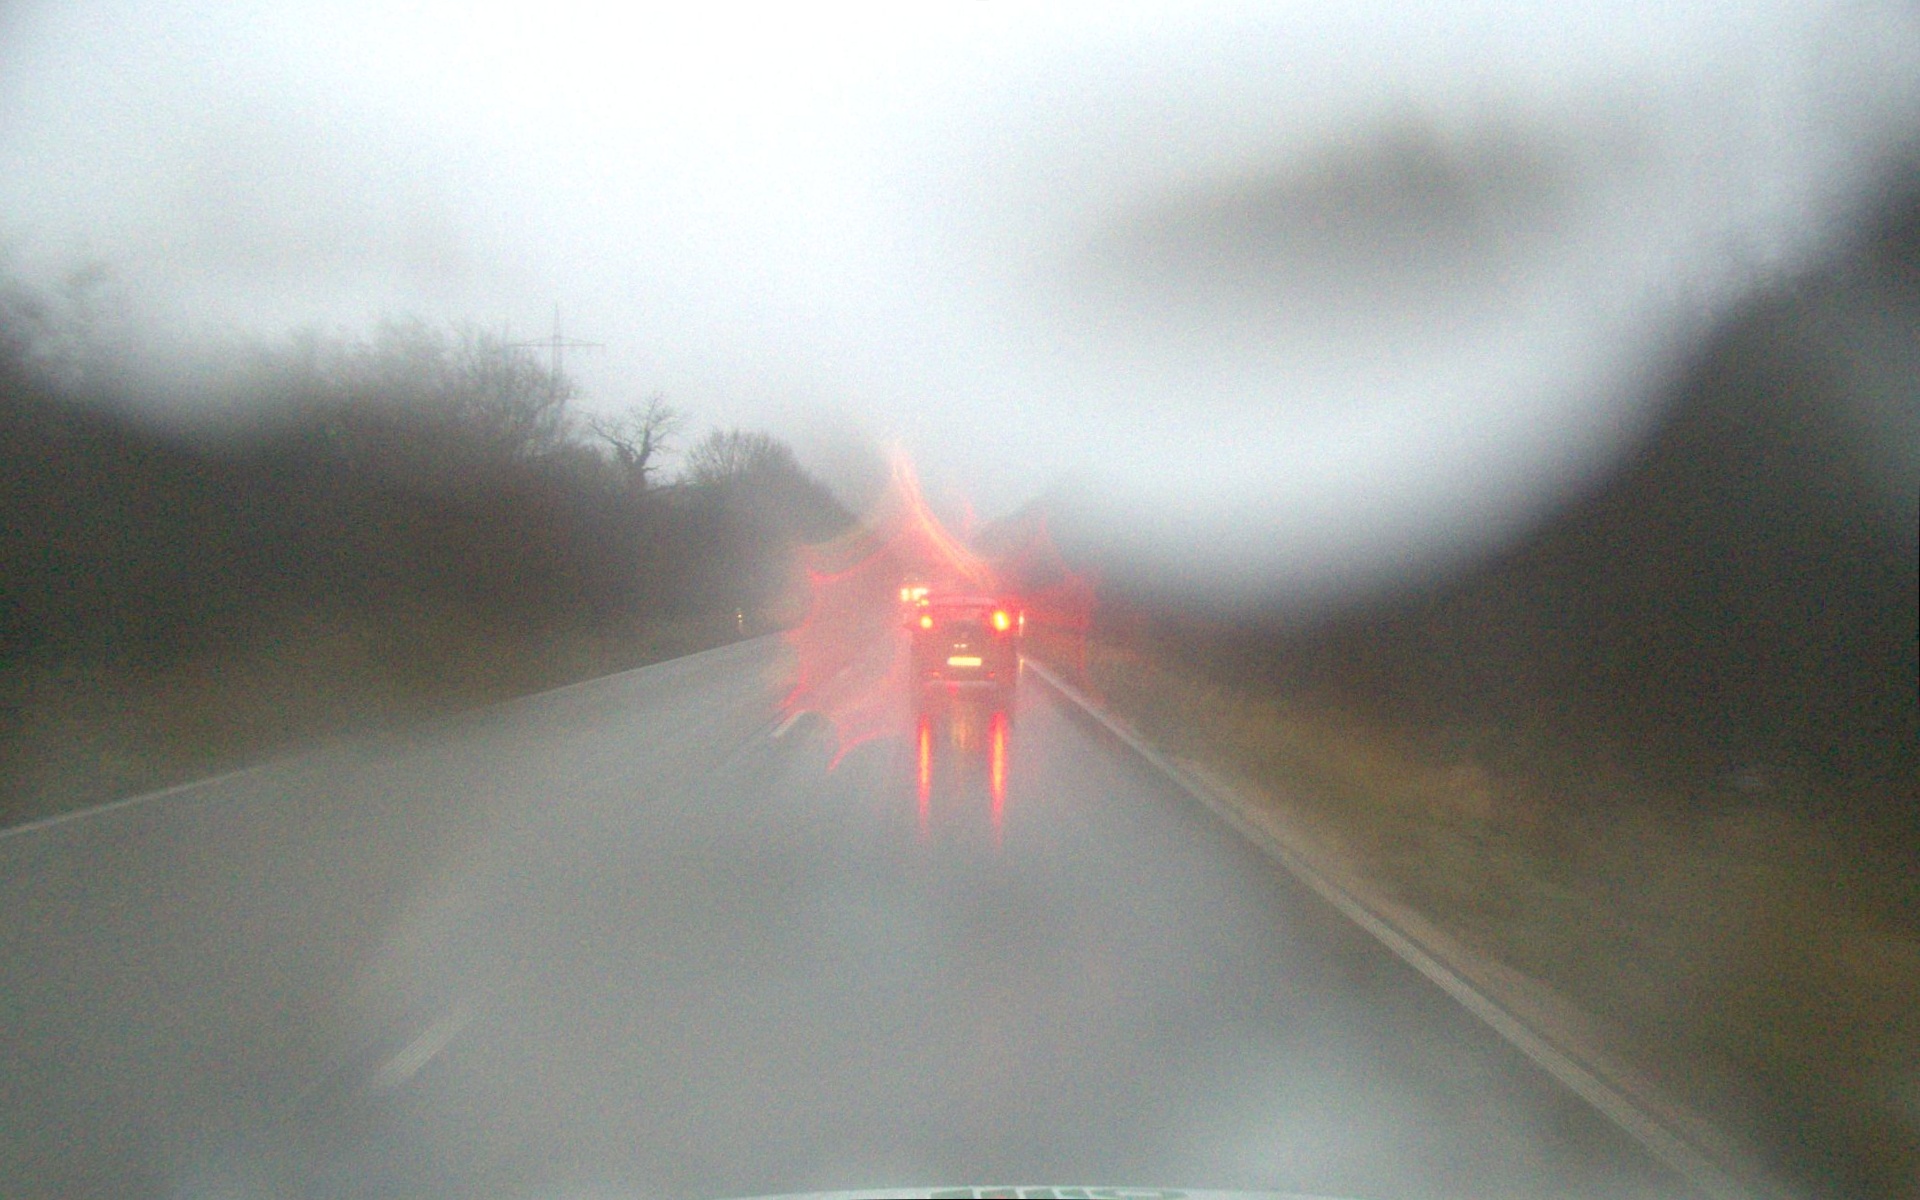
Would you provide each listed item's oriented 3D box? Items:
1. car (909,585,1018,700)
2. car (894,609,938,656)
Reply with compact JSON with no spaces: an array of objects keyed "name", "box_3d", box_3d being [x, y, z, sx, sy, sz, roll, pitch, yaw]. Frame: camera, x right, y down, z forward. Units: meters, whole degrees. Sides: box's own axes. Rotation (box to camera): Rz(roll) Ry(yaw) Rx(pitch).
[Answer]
[{"name":"car","box_3d":[0.026,0.638,26.564,1.614,1.701,3.513,1,0,-1]},{"name":"car","box_3d":[-1.760,1.288,66.732,1.698,1.810,3.999,1,0,-1]}]
